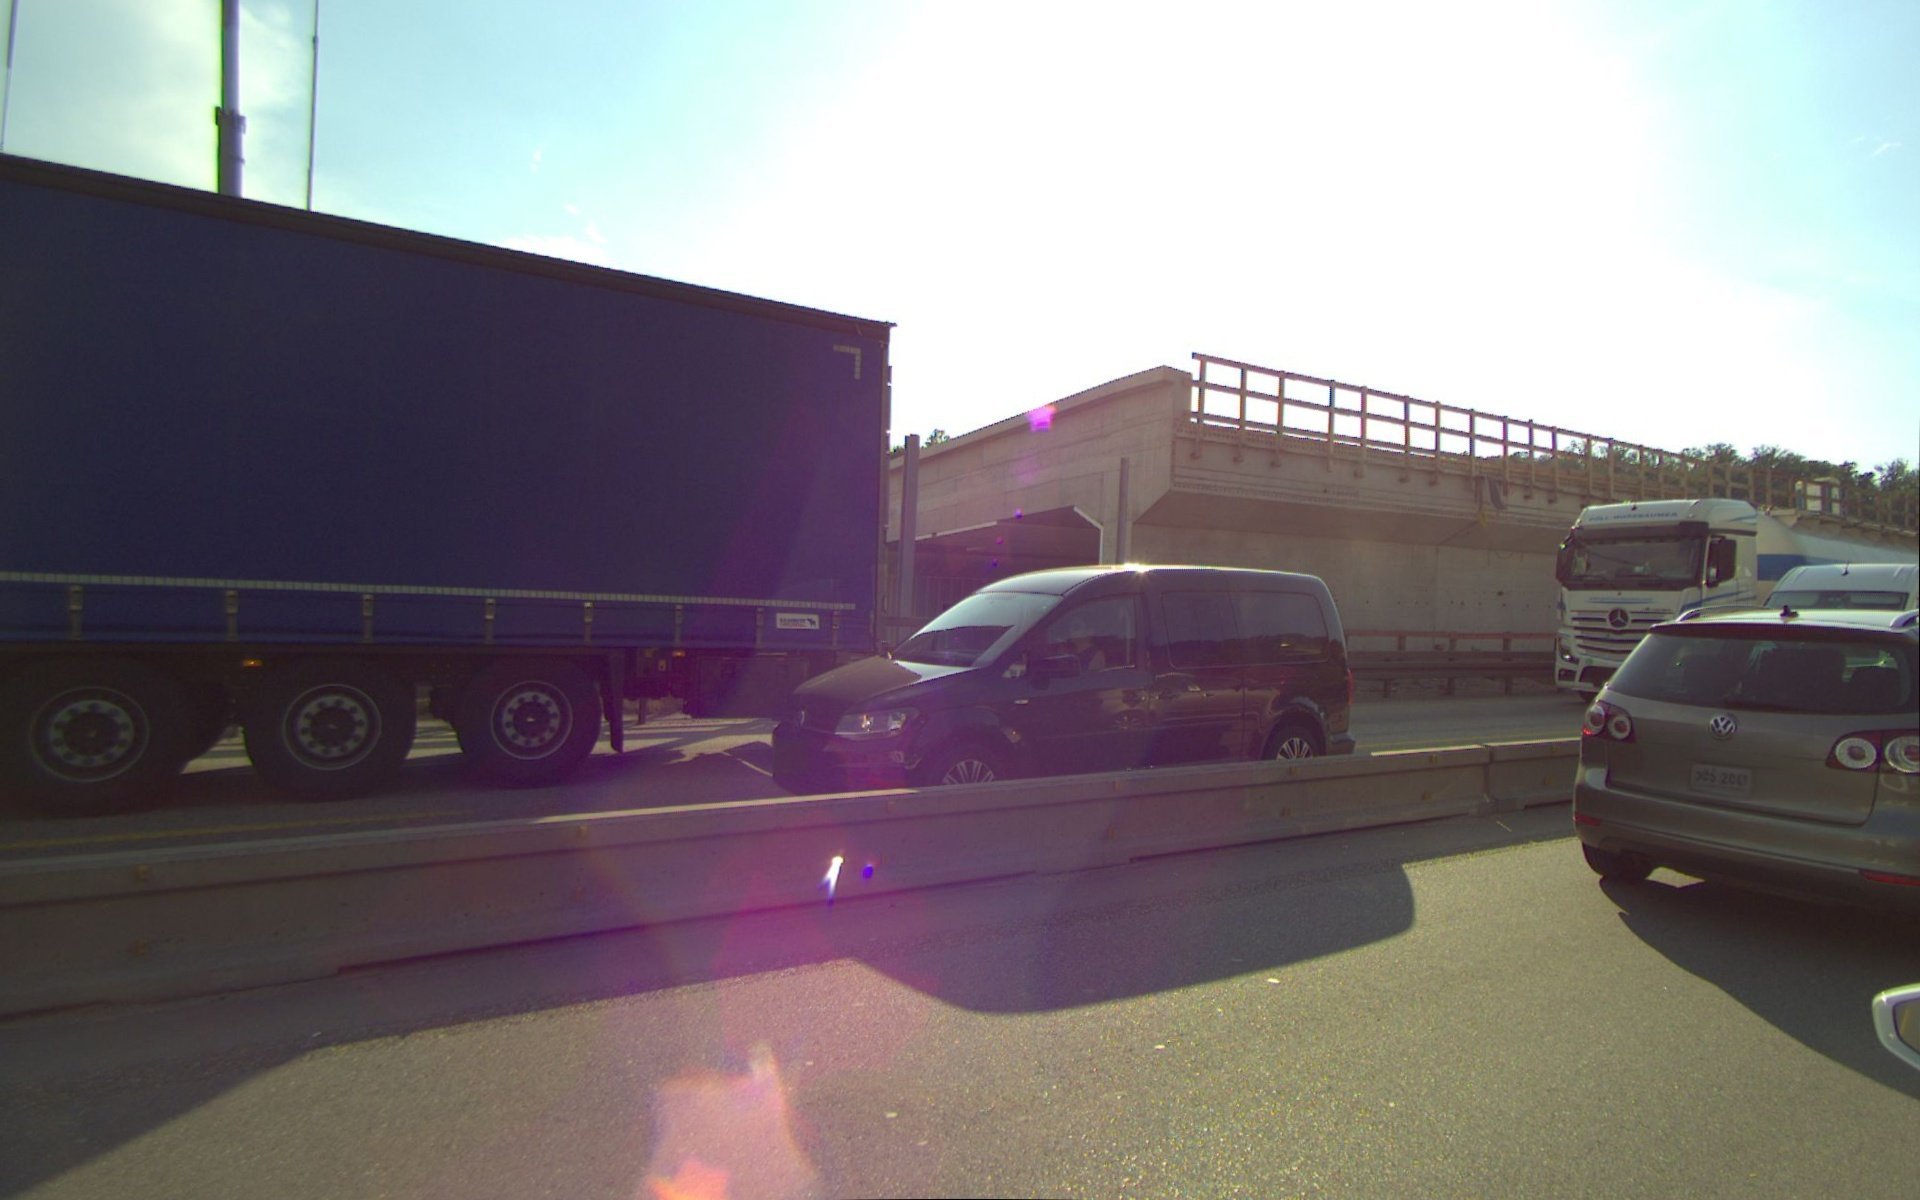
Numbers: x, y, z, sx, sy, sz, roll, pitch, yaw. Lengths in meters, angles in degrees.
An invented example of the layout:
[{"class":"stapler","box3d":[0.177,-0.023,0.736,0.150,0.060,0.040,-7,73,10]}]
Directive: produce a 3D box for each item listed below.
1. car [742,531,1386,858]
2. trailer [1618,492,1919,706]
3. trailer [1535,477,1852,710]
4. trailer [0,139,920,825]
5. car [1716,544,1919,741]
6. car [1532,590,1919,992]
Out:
[{"class":"car","box3d":[0.943,0.597,7.729,4.797,1.867,1.772,2,0,-31]},{"class":"trailer","box3d":[19.940,0.156,22.905,13.288,3.901,2.639,2,0,-31]},{"class":"trailer","box3d":[14.354,-0.031,19.557,6.355,3.901,2.639,2,0,-31]},{"class":"trailer","box3d":[-6.984,-0.736,6.951,13.615,4.090,2.911,2,0,-31]},{"class":"car","box3d":[15.127,0.662,16.230,7.324,2.657,1.984,2,0,-31]},{"class":"car","box3d":[5.309,0.839,5.742,4.223,1.609,1.672,2,-1,-31]}]
